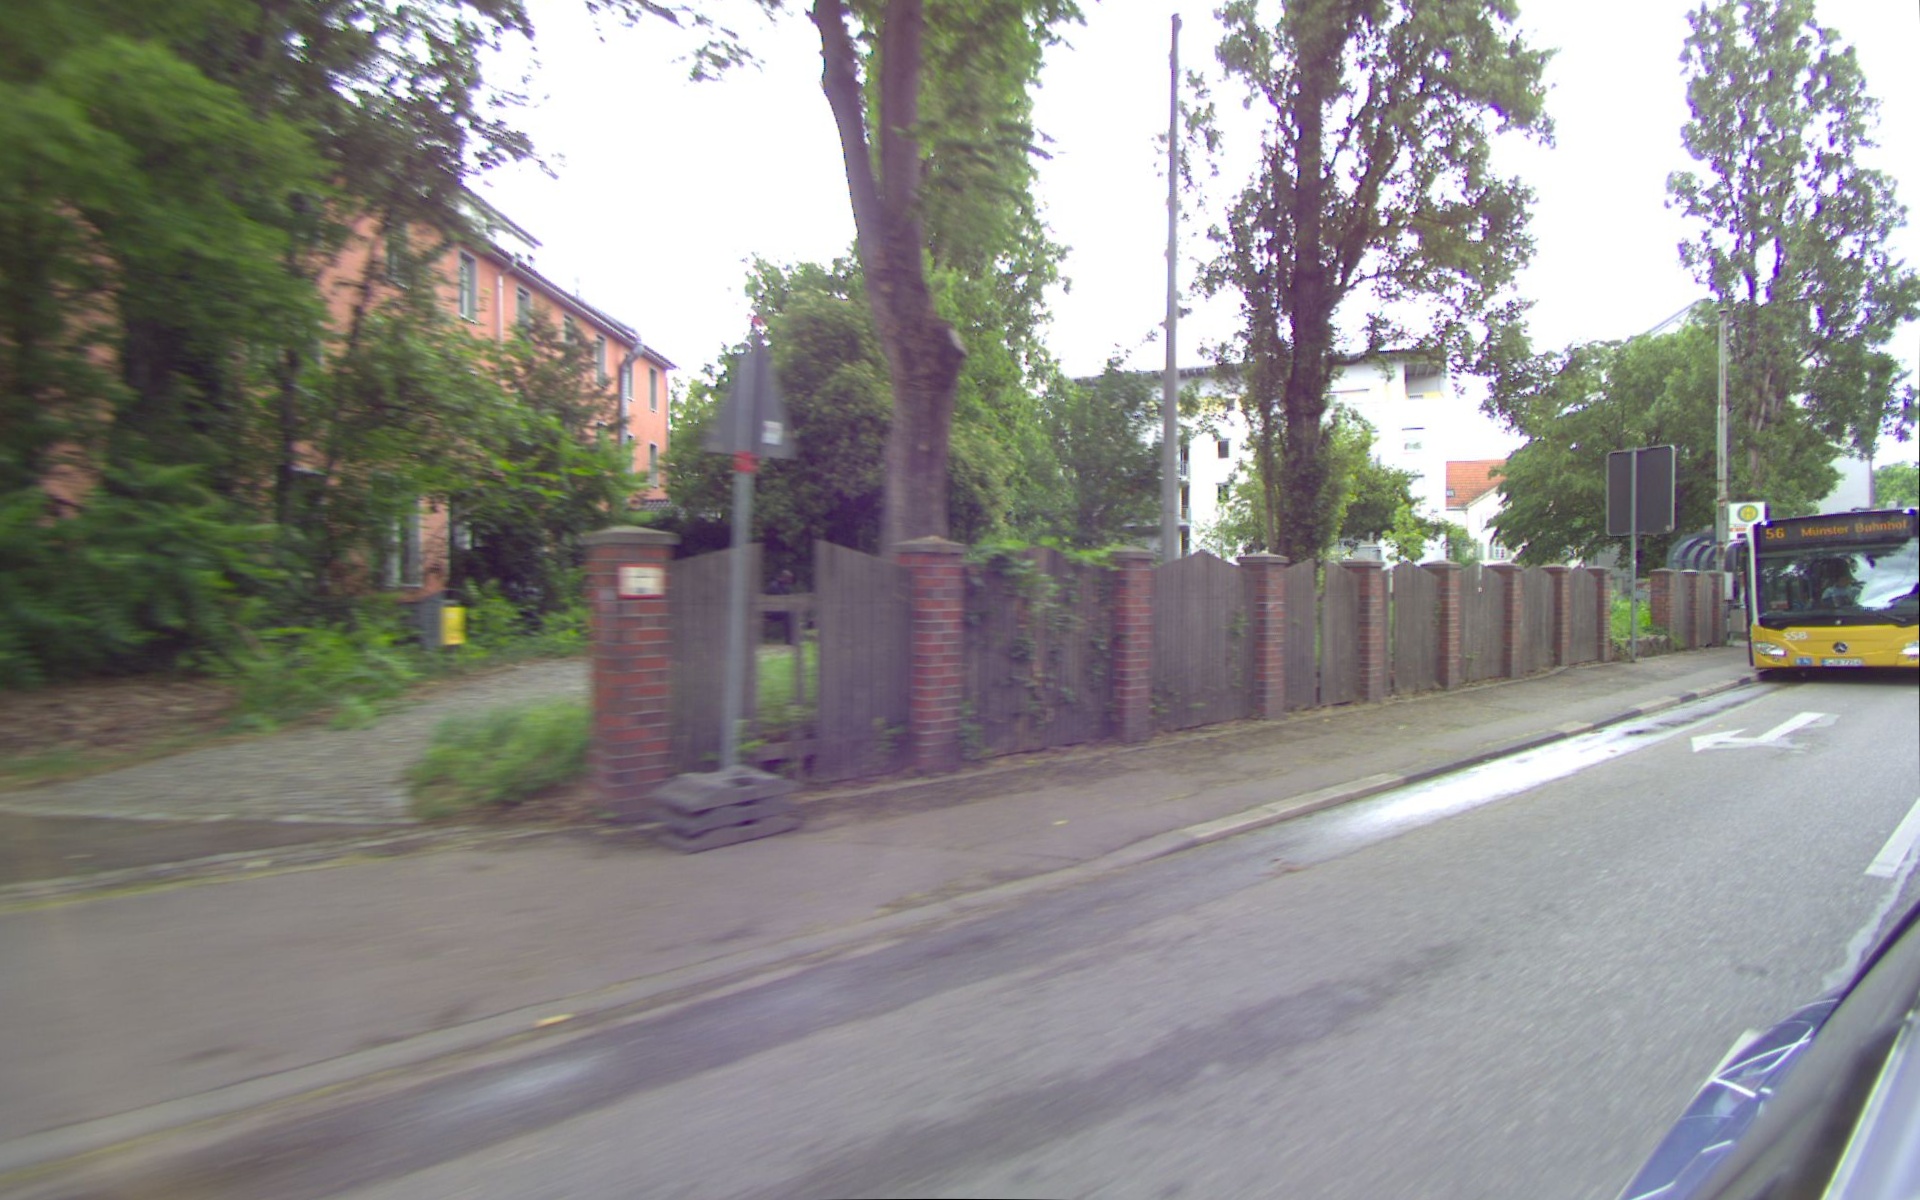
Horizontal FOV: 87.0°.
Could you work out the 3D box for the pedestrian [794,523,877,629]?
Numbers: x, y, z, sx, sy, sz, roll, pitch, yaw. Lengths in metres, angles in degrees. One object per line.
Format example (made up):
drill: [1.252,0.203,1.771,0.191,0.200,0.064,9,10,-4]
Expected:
pedestrian: [-2.482,-0.483,20.251,1.126,2.038,1.238,1,1,32]

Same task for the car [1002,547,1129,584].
car: [4.845,-1.576,46.529,5.502,1.608,1.984,0,3,26]

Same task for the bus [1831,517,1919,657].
bus: [25.284,-0.307,26.248,9.866,3.177,2.666,0,-2,-42]

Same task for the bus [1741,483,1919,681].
bus: [18.224,-0.273,19.971,9.058,3.179,2.675,0,-2,-42]
